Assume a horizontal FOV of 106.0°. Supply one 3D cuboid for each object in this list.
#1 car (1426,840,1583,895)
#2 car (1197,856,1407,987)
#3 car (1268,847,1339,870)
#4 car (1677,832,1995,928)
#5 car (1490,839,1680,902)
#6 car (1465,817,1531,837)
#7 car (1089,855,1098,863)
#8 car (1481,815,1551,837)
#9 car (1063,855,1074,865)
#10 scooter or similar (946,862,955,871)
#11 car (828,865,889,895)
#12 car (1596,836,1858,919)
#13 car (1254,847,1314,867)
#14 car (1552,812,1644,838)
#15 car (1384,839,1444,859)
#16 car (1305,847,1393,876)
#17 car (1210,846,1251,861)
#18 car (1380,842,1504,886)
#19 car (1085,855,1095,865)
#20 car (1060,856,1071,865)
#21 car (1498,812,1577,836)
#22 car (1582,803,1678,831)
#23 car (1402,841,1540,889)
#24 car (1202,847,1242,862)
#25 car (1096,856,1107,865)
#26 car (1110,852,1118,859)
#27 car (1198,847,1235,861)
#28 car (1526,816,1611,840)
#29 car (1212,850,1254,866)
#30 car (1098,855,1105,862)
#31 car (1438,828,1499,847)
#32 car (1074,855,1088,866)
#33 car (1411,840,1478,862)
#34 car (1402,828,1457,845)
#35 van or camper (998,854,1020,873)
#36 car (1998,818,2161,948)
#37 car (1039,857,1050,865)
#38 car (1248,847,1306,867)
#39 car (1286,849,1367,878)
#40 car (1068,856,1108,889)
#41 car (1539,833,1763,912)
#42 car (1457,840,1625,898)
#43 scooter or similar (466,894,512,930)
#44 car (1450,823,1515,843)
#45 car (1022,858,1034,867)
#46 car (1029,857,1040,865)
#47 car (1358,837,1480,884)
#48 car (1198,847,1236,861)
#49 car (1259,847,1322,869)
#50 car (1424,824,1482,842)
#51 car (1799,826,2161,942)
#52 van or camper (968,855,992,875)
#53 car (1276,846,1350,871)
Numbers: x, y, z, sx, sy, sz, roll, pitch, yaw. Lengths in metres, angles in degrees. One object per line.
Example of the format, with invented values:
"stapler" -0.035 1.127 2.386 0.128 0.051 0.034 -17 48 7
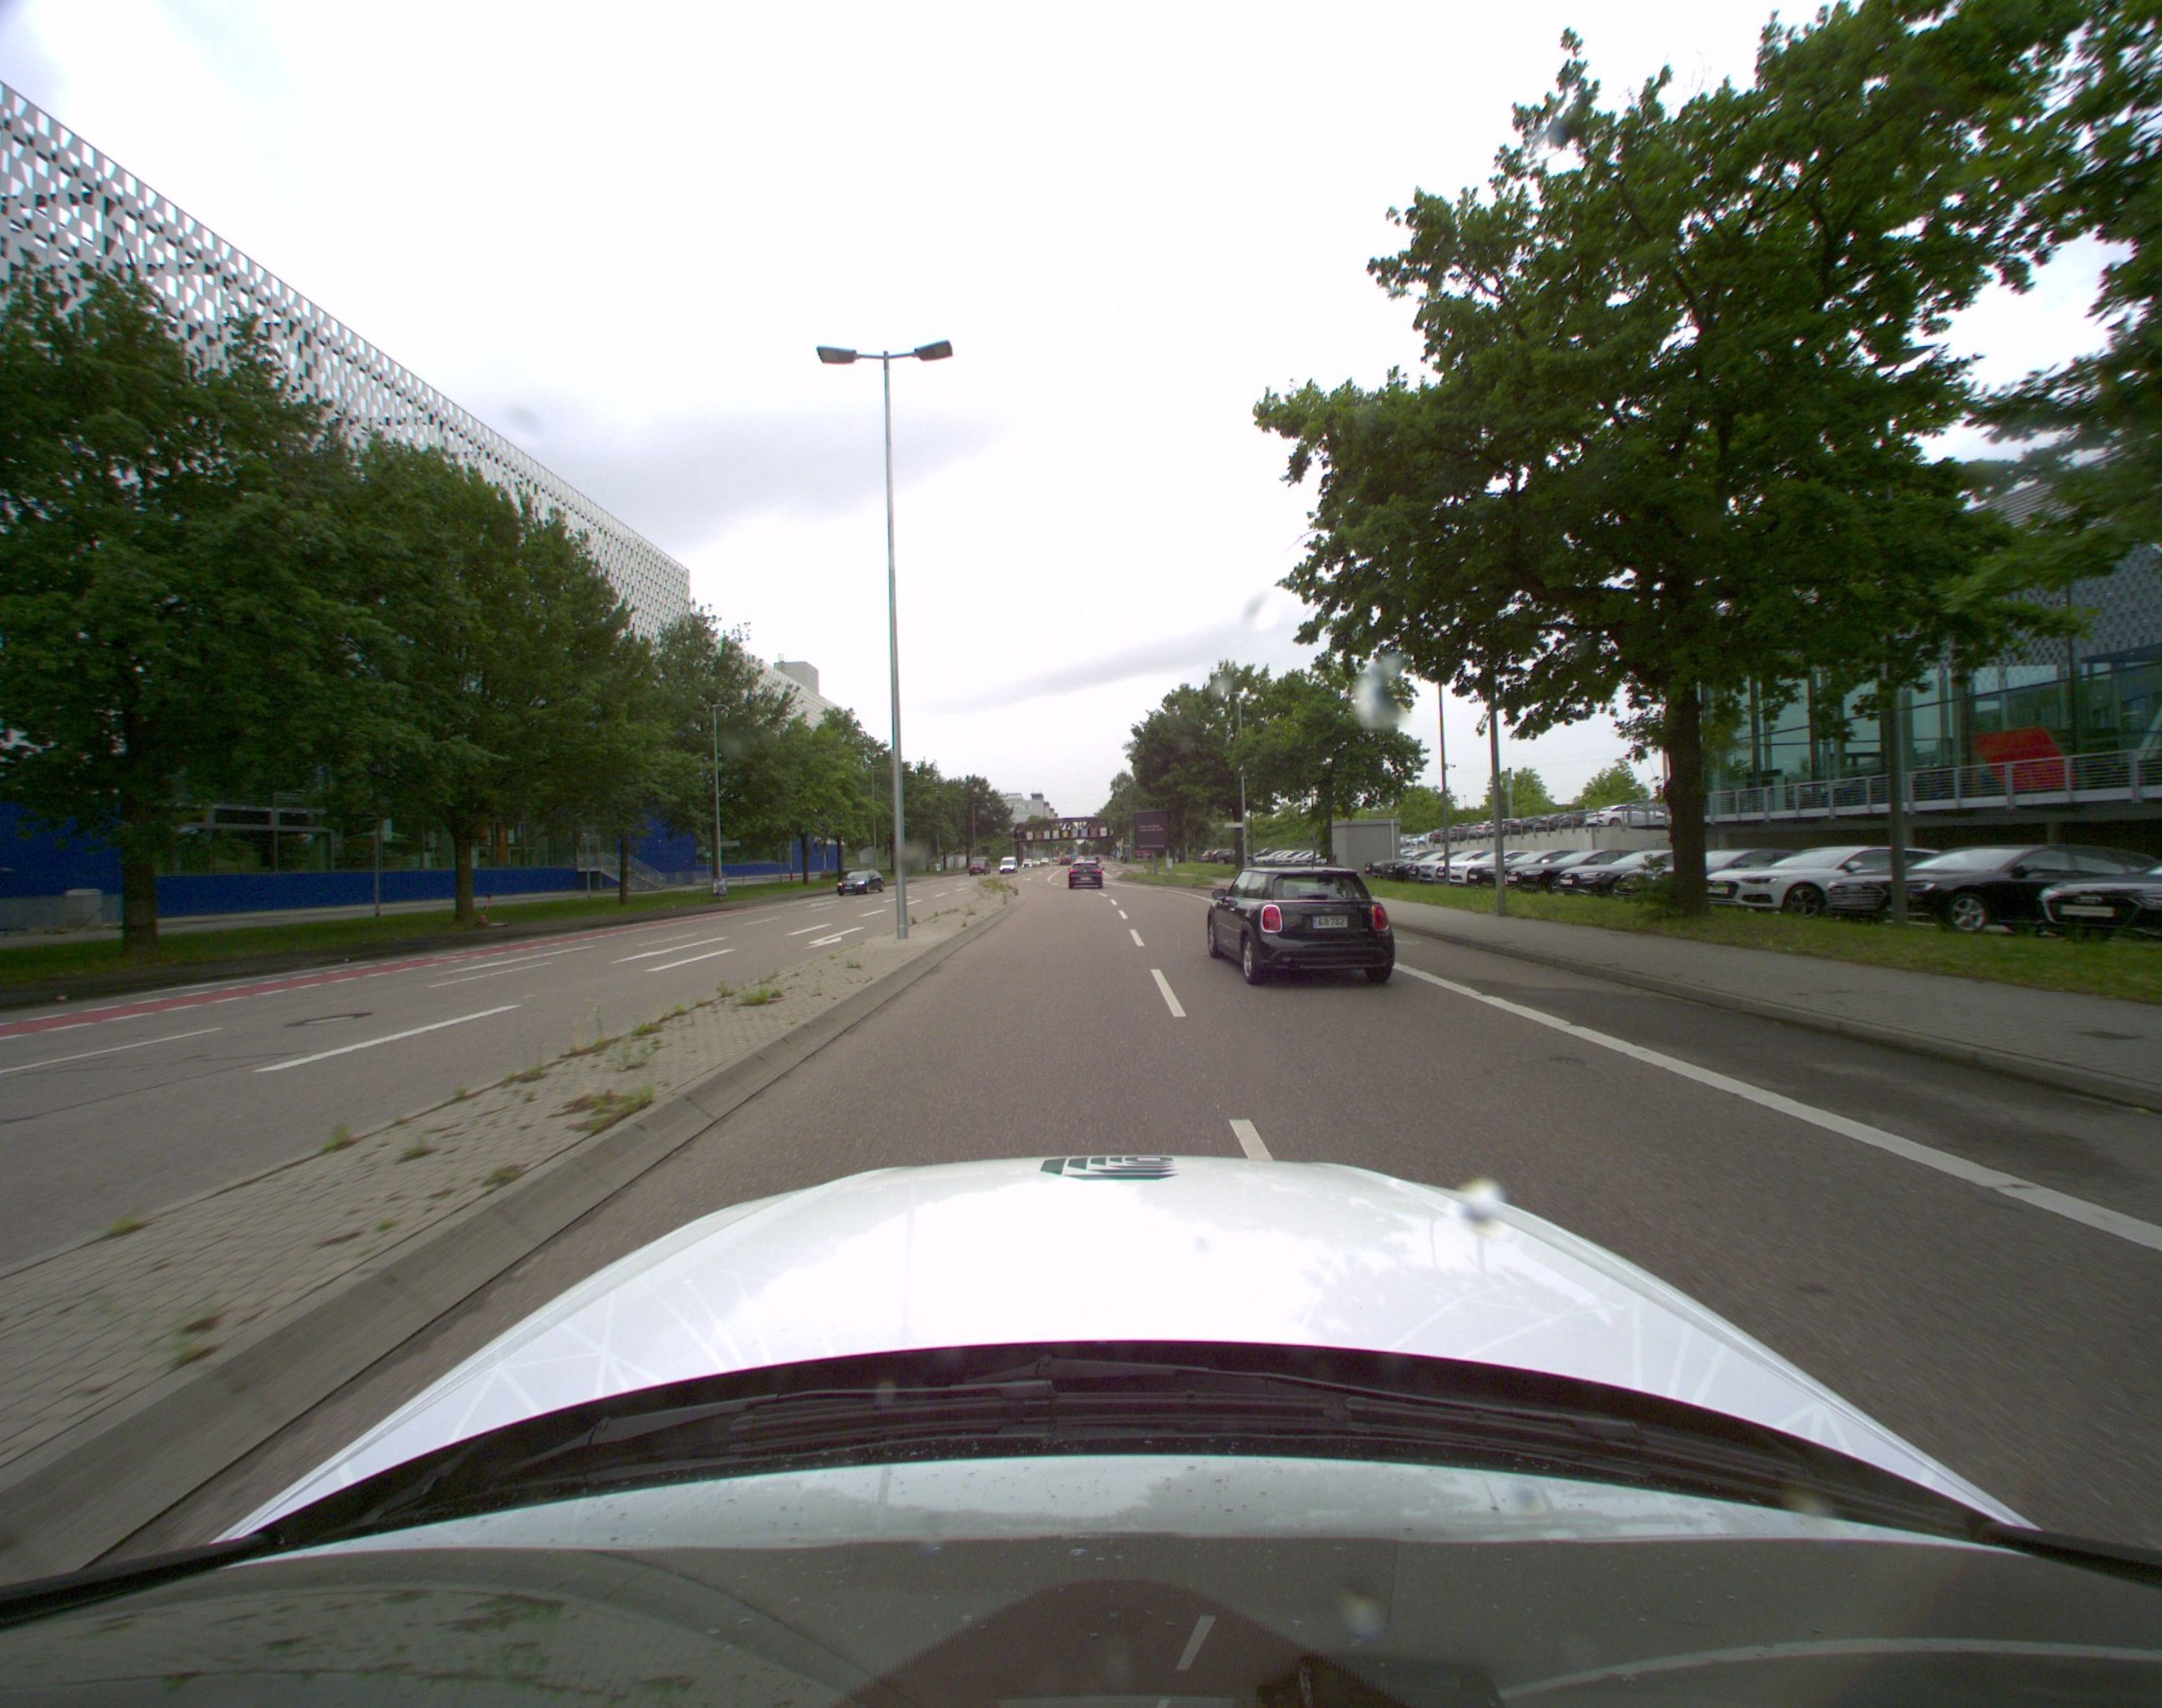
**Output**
"car" 14.755 0.432 28.552 4.377 1.520 2.001 4 2 1
"car" 2.728 0.784 10.925 1.780 1.416 3.642 -1 -1 -1
"car" 15.217 0.281 55.845 4.329 1.488 1.843 -1 0 0
"car" 14.213 0.445 15.535 4.182 1.485 1.959 3 2 0
"car" 14.320 0.436 23.334 4.160 1.456 1.935 3 2 2
"car" 30.784 -1.993 60.199 4.073 1.435 1.730 -1 2 -1
"car" 2.824 1.180 184.237 1.876 1.661 3.786 -1 2 3
"car" 30.724 -1.955 57.559 4.073 1.496 1.730 -1 2 -1
"car" -2.518 1.234 163.504 1.942 1.815 4.004 -1 2 3
"scooter or similar" -17.558 1.665 109.602 0.760 1.089 2.006 -1 2 0
"car" -13.035 1.519 48.020 1.908 1.502 4.260 -4 -1 7
"car" 14.183 0.476 18.094 4.167 1.485 1.978 3 2 1
"car" 15.150 0.212 60.871 4.073 1.435 1.846 -1 2 -1
"car" 31.427 -1.757 49.600 4.322 1.496 2.069 -1 2 -1
"car" 26.301 -0.404 64.459 4.073 1.435 1.730 -1 2 -1
"car" 15.010 0.425 45.722 4.277 1.392 2.001 2 0 2
"car" 15.027 -0.059 82.045 3.965 1.435 1.734 -1 2 7
"car" 14.783 0.400 33.539 4.160 1.445 1.961 4 2 1
"car" 1.907 1.248 173.785 1.942 1.815 4.004 -1 2 3
"car" -2.944 1.274 156.659 1.876 1.661 3.786 -1 2 3
"car" 30.773 -2.001 54.923 4.322 1.496 1.881 -1 2 -1
"car" 31.505 -2.130 46.842 4.322 1.496 1.881 -1 2 -1
"car" 14.811 0.387 31.128 4.278 1.504 2.030 4 0 2
"car" 14.720 0.083 85.085 3.965 1.435 1.734 -1 2 7
"car" 3.899 1.196 153.050 1.876 1.661 3.786 -1 2 3
"car" 8.437 0.339 209.091 1.942 1.815 4.004 -1 2 3
"car" 15.020 0.039 90.612 3.965 1.435 1.734 -1 2 7
"car" 31.258 -1.670 52.339 4.322 1.496 1.970 -1 2 -1
"car" 14.801 0.408 79.426 3.965 1.435 1.734 -1 2 7
"car" 6.389 1.406 248.611 1.942 1.815 4.004 -1 2 3
"car" 30.945 -1.310 65.106 4.073 1.435 1.730 -1 2 -1
"car" 0.023 1.124 144.092 2.126 1.661 3.786 -1 2 3
"car" 26.278 -0.232 58.908 4.073 1.435 1.730 -1 2 -1
"car" 31.220 -1.546 73.015 4.186 1.435 1.730 -1 2 -1
"van or camper" -7.731 0.983 87.803 1.749 1.747 4.408 -5 0 1
"car" 14.527 0.469 10.091 4.194 1.485 1.826 4 2 0
"car" -7.809 1.509 175.198 1.932 1.675 3.786 -1 2 3
"car" 15.165 0.225 63.189 4.073 1.435 1.730 -1 2 -1
"car" 15.230 0.597 50.707 4.431 1.571 2.000 -2 0 0
"car" 0.411 0.913 41.769 1.749 1.434 4.005 -2 1 4
"car" 14.252 0.417 20.562 4.160 1.662 2.001 3 2 2
"car" 14.547 0.430 25.944 4.160 1.469 2.001 4 2 1
"scooter or similar" -21.178 2.057 29.178 0.653 1.196 1.377 -1 0 -2
"car" 30.731 -1.636 62.363 4.073 1.435 1.947 -1 2 -1
"car" -8.943 1.432 137.556 1.747 1.446 3.343 -1 2 3
"car" -8.710 1.380 153.595 1.712 1.371 3.443 -1 2 3
"car" 14.911 0.248 36.140 4.533 1.701 2.001 4 2 1
"car" 14.579 -0.025 87.441 3.965 1.435 1.734 -1 2 7
"car" 15.022 0.297 58.465 4.073 1.435 1.822 -1 2 -1
"car" 30.985 -1.740 67.836 4.073 1.435 1.730 -1 2 -1
"car" 14.262 0.422 12.929 4.050 1.485 1.819 3 2 0
"van or camper" -11.143 1.161 90.232 1.869 1.986 4.890 -3 1 0
"car" 15.209 0.303 53.478 4.329 1.503 1.929 2 0 0
